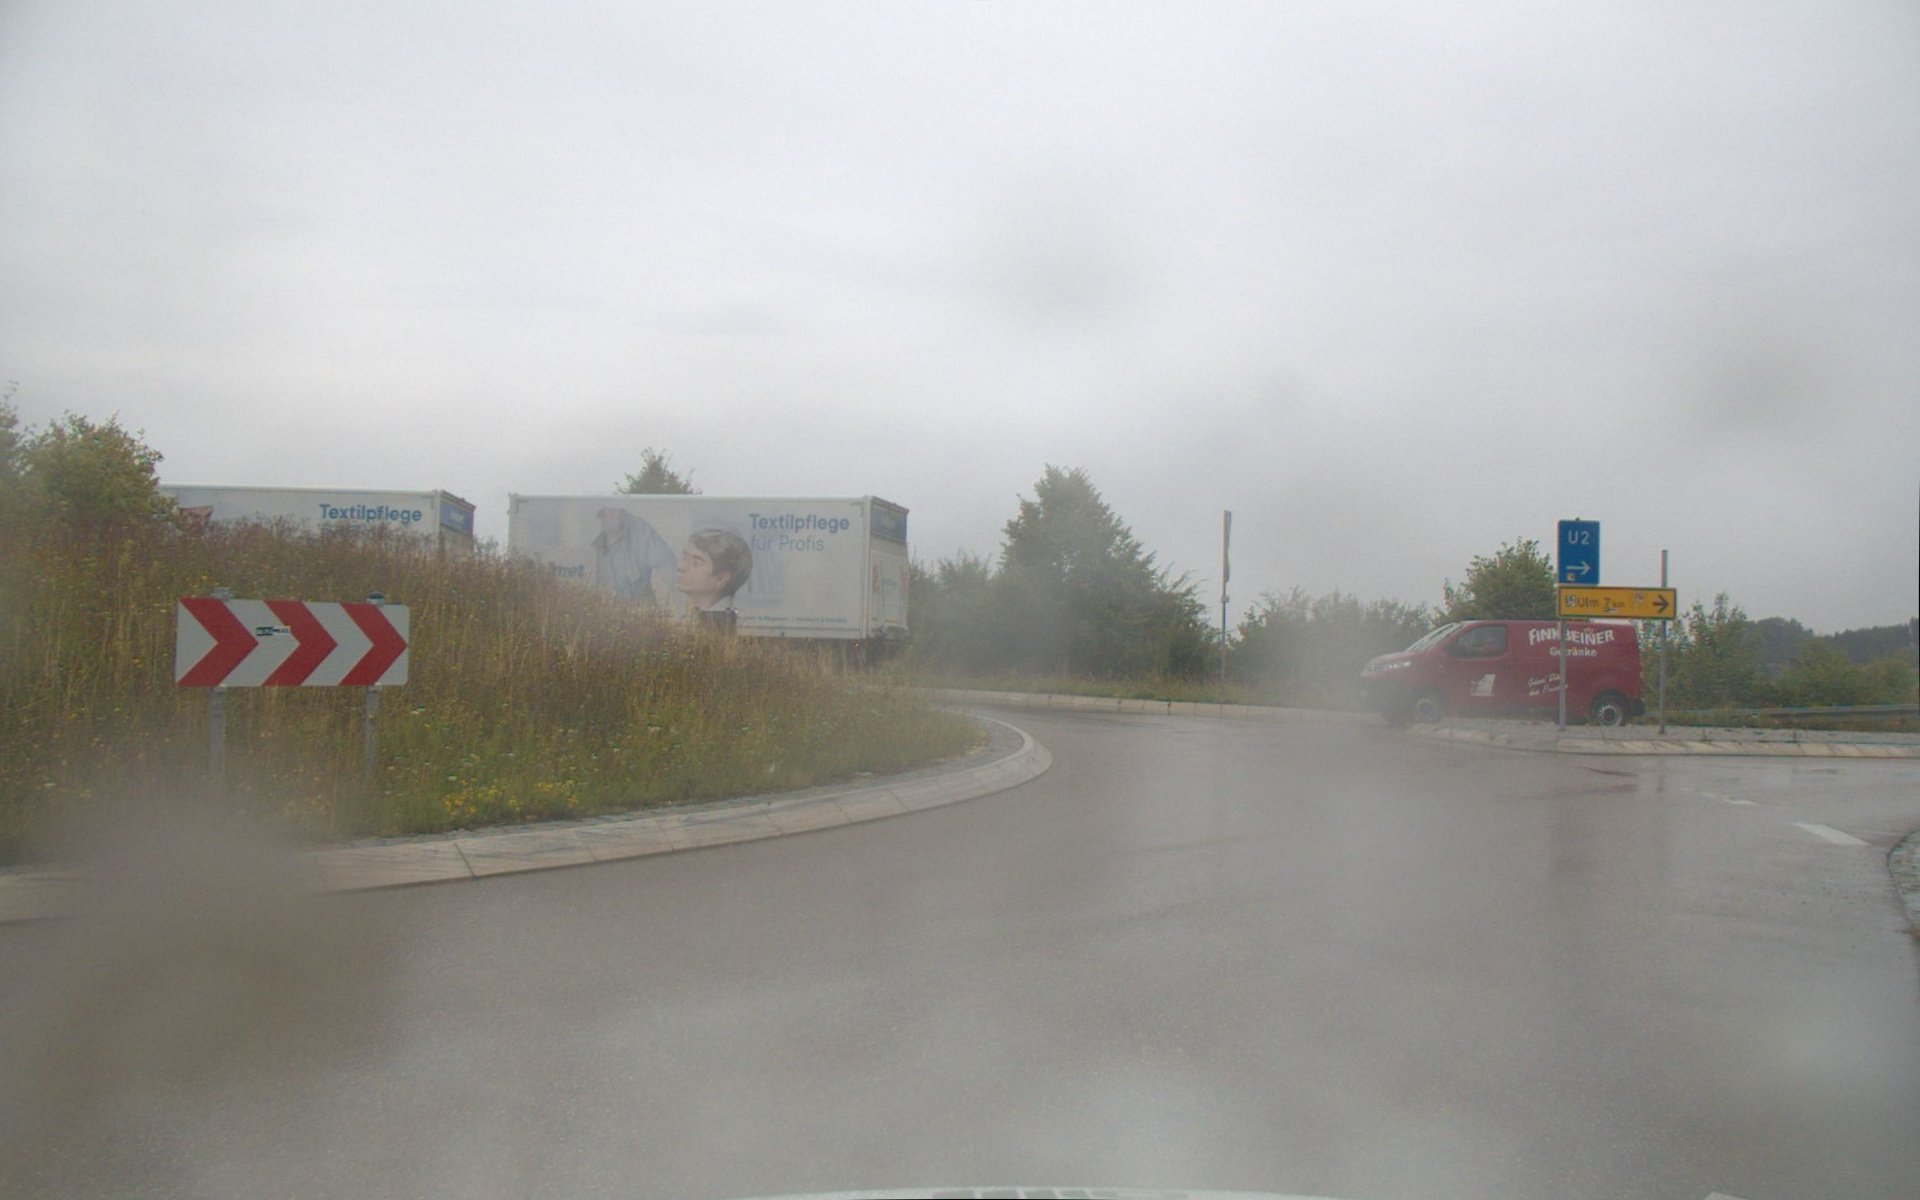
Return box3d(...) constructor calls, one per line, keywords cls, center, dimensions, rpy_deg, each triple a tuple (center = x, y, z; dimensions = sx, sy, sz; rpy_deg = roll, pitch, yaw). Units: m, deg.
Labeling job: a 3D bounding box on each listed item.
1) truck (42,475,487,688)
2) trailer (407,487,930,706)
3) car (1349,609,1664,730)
box3d(cls="truck", center=(-13.604, -0.314, 32.849), dimensions=(7.508, 3.886, 2.808), rpy_deg=(1, -2, -1))
box3d(cls="trailer", center=(-5.558, -0.097, 31.895), dimensions=(9.476, 3.886, 2.843), rpy_deg=(1, -2, 13))
box3d(cls="car", center=(9.562, 1.214, 29.182), dimensions=(4.863, 1.903, 1.999), rpy_deg=(2, -1, -3))
